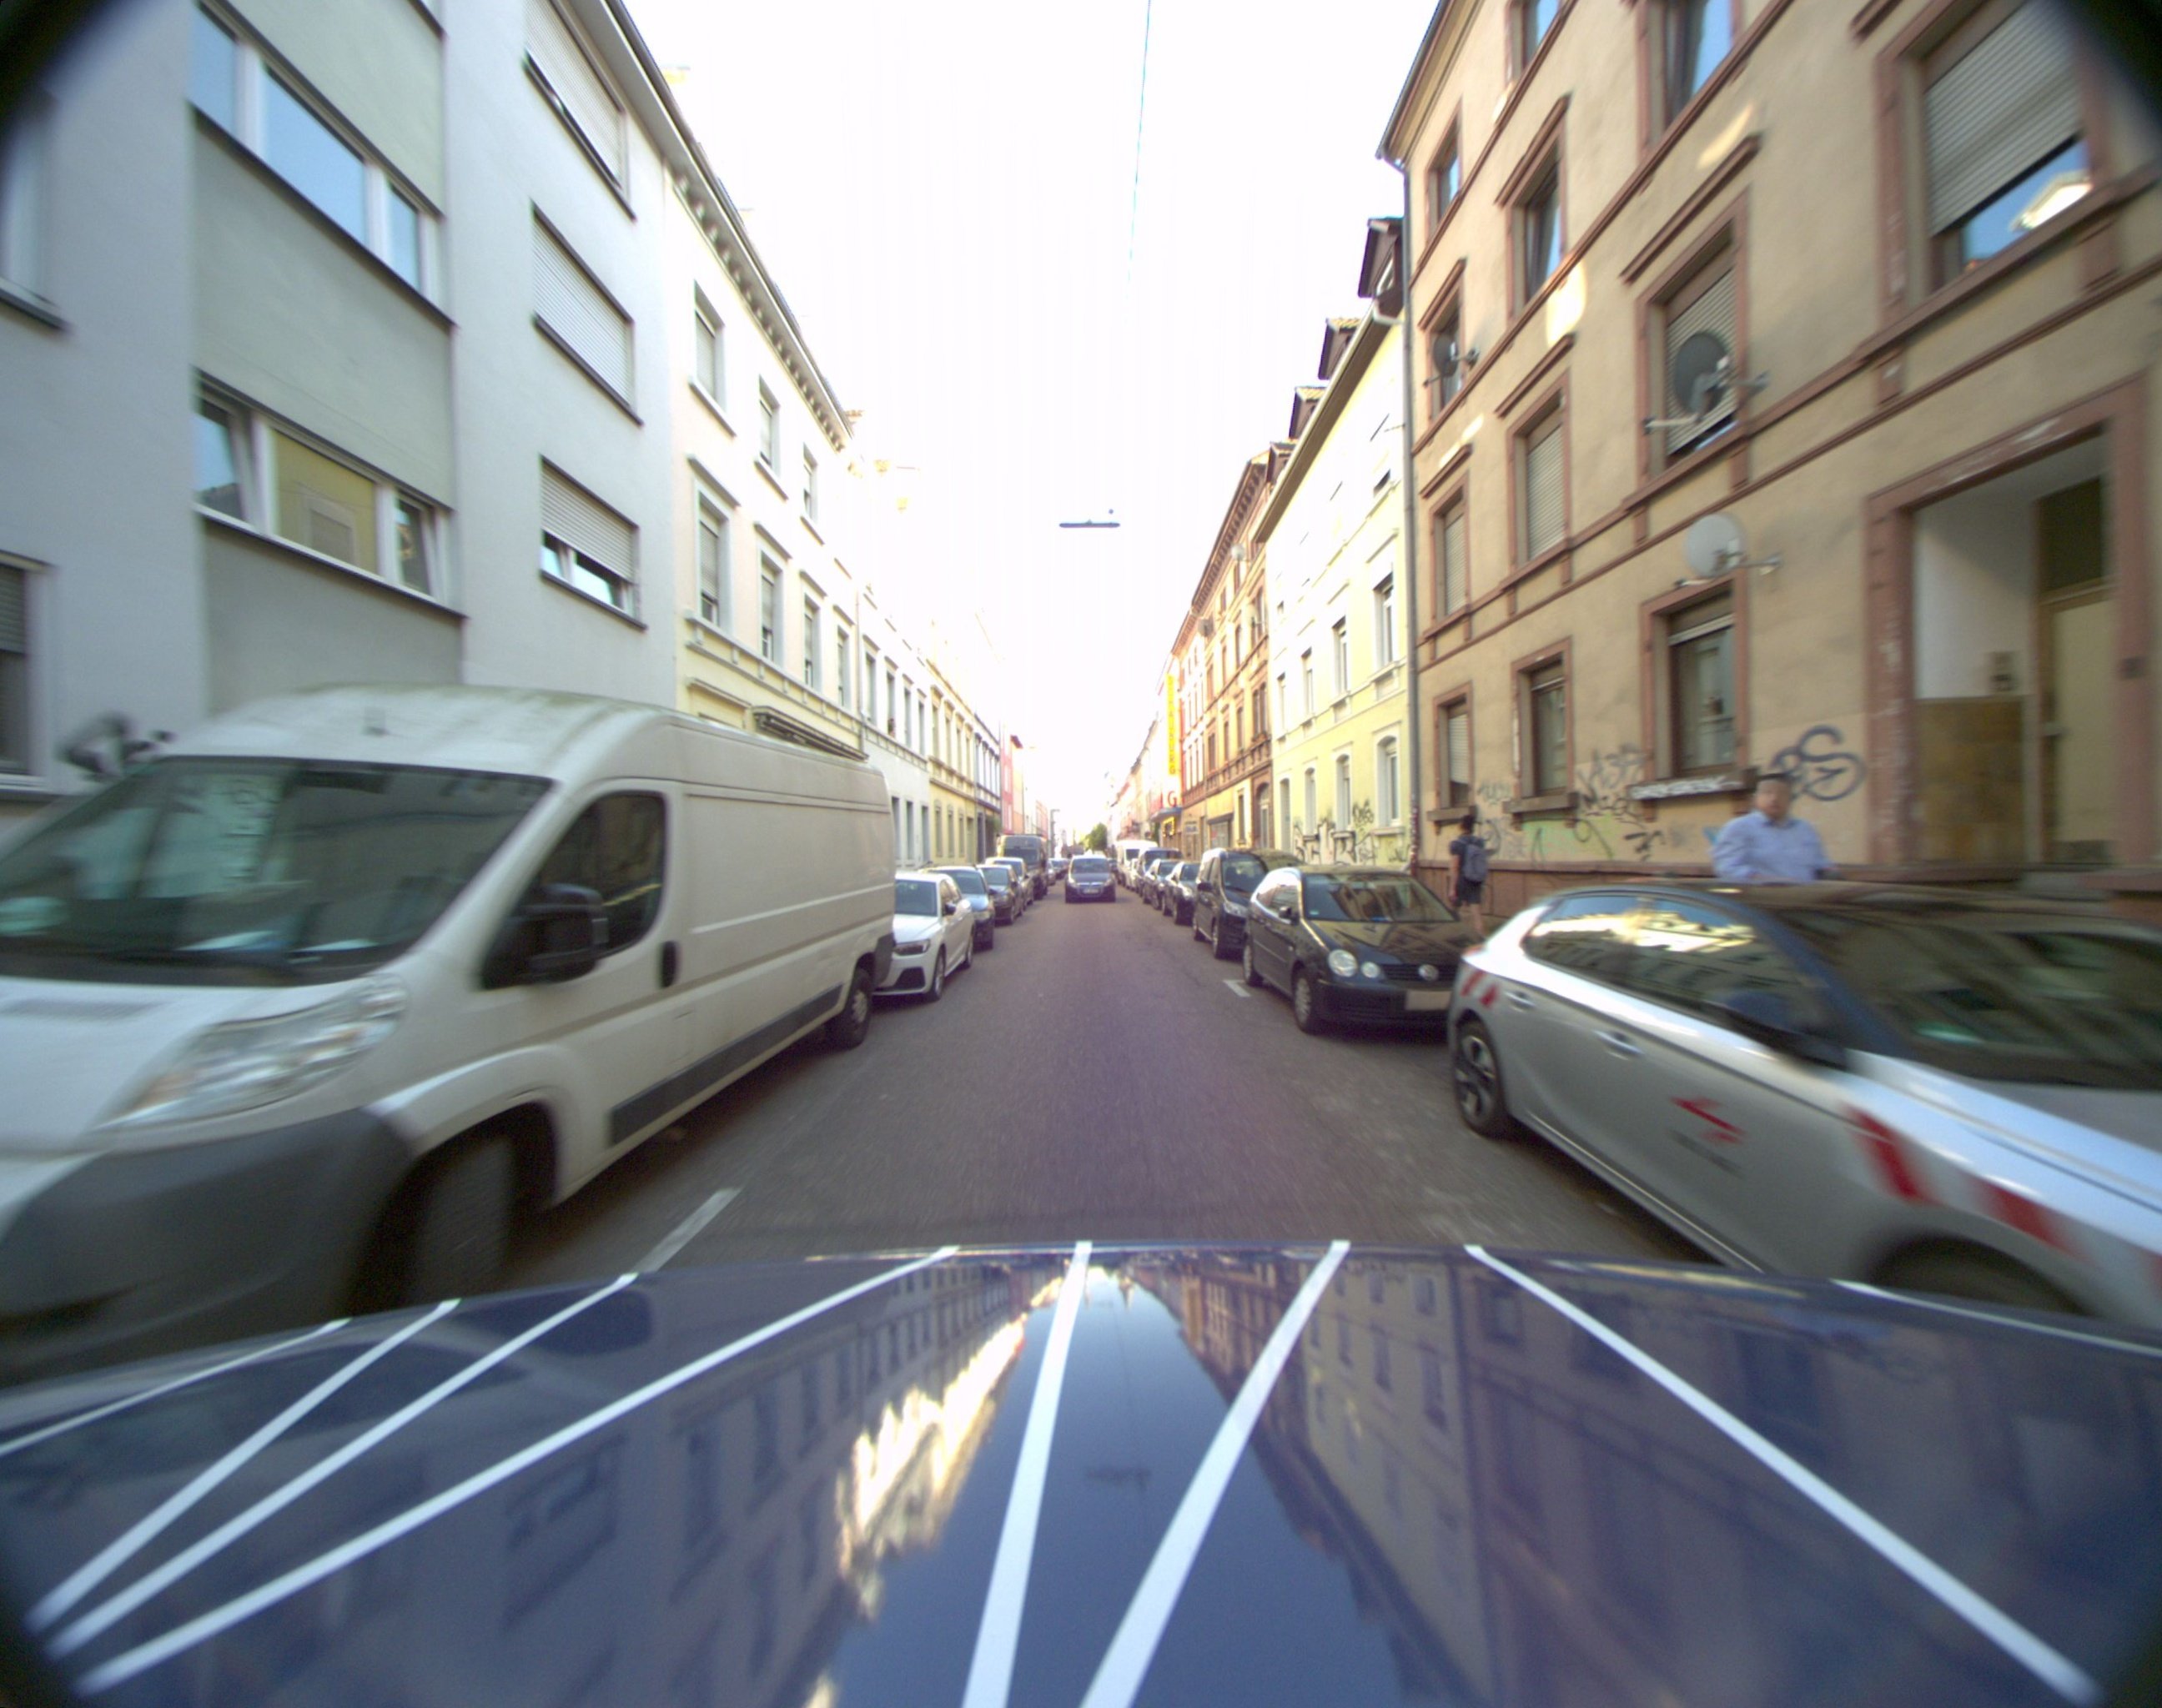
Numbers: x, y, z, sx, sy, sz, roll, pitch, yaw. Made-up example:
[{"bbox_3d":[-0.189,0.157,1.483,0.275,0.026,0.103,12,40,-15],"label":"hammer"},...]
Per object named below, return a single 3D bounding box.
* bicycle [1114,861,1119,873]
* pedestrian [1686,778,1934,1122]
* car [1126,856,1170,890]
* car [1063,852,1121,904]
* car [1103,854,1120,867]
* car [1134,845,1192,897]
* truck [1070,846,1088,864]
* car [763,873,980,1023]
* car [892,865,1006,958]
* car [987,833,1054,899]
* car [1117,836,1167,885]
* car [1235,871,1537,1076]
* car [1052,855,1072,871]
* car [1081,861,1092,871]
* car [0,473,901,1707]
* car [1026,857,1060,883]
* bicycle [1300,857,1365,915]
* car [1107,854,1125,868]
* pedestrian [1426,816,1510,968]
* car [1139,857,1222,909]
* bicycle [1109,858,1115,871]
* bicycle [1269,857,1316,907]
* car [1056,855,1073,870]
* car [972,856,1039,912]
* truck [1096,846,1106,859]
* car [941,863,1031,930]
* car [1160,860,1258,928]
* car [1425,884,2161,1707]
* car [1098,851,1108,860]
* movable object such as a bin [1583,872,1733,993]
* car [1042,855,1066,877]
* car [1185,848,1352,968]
[{"bbox_3d":[2.923,1.064,62.901,0.391,0.911,1.393,-1,0,1],"label":"bicycle"},{"bbox_3d":[4.198,0.515,4.439,0.652,1.807,0.754,-3,1,1],"label":"pedestrian"},{"bbox_3d":[3.048,0.845,35.250,1.649,1.438,3.839,-1,0,-1],"label":"car"},{"bbox_3d":[0.384,0.761,26.532,1.832,1.650,4.213,-1,0,1],"label":"car"},{"bbox_3d":[3.592,0.707,89.255,1.792,1.454,4.199,0,0,-1],"label":"car"},{"bbox_3d":[3.186,0.611,30.374,1.832,1.881,4.613,1,0,1],"label":"car"},{"bbox_3d":[-0.294,0.140,128.120,2.819,2.735,7.677,-3,0,0],"label":"truck"},{"bbox_3d":[-2.399,1.010,9.703,1.729,1.421,3.832,-1,0,-1],"label":"car"},{"bbox_3d":[-2.512,0.983,14.815,1.817,1.469,4.604,2,-1,-9],"label":"car"},{"bbox_3d":[-2.336,0.435,31.003,2.180,2.411,6.309,0,0,0],"label":"car"},{"bbox_3d":[3.209,0.312,41.149,2.174,2.437,5.921,0,0,-1],"label":"car"},{"bbox_3d":[2.660,0.944,7.529,1.596,1.432,3.654,-1,0,2],"label":"car"},{"bbox_3d":[-1.794,0.811,73.332,1.701,1.514,3.980,0,0,2],"label":"car"},{"bbox_3d":[0.781,1.855,116.595,1.644,1.528,3.842,-1,0,0],"label":"car"},{"bbox_3d":[-2.947,0.566,4.467,2.210,2.536,6.036,-1,0,1],"label":"car"},{"bbox_3d":[-2.256,0.929,46.034,1.791,1.446,4.547,2,0,0],"label":"car"},{"bbox_3d":[5.907,0.708,17.993,0.669,1.238,2.327,-4,0,0],"label":"bicycle"},{"bbox_3d":[3.637,0.713,78.746,1.684,1.446,4.035,0,0,4],"label":"car"},{"bbox_3d":[4.957,0.466,9.767,0.612,1.847,0.754,-3,1,0],"label":"pedestrian"},{"bbox_3d":[3.002,0.843,23.861,1.867,1.431,4.644,-1,0,-1],"label":"car"},{"bbox_3d":[2.757,0.936,67.863,0.500,1.099,1.830,-2,0,0],"label":"bicycle"},{"bbox_3d":[5.727,0.725,20.686,0.675,1.264,2.086,-2,0,1],"label":"bicycle"},{"bbox_3d":[-1.660,0.871,77.909,1.692,1.444,4.193,0,0,-1],"label":"car"},{"bbox_3d":[-2.363,0.896,24.689,1.698,1.598,4.374,1,0,0],"label":"car"},{"bbox_3d":[5.029,-0.341,190.272,2.524,3.271,6.642,-1,0,1],"label":"truck"},{"bbox_3d":[-2.357,1.009,19.792,1.750,1.477,4.243,-1,0,0],"label":"car"},{"bbox_3d":[2.993,0.882,18.489,1.741,1.418,4.000,-1,0,1],"label":"car"},{"bbox_3d":[2.785,0.900,2.525,1.677,1.422,3.889,-1,0,3],"label":"car"},{"bbox_3d":[4.703,0.309,161.631,1.998,2.002,4.258,-1,0,1],"label":"car"},{"bbox_3d":[5.498,0.725,7.293,0.791,1.019,0.757,-6,0,3],"label":"movable object such as a bin"},{"bbox_3d":[-2.053,0.889,57.927,1.606,1.530,3.450,1,0,2],"label":"car"},{"bbox_3d":[2.951,0.764,12.838,1.805,1.688,4.000,1,0,0],"label":"car"}]
